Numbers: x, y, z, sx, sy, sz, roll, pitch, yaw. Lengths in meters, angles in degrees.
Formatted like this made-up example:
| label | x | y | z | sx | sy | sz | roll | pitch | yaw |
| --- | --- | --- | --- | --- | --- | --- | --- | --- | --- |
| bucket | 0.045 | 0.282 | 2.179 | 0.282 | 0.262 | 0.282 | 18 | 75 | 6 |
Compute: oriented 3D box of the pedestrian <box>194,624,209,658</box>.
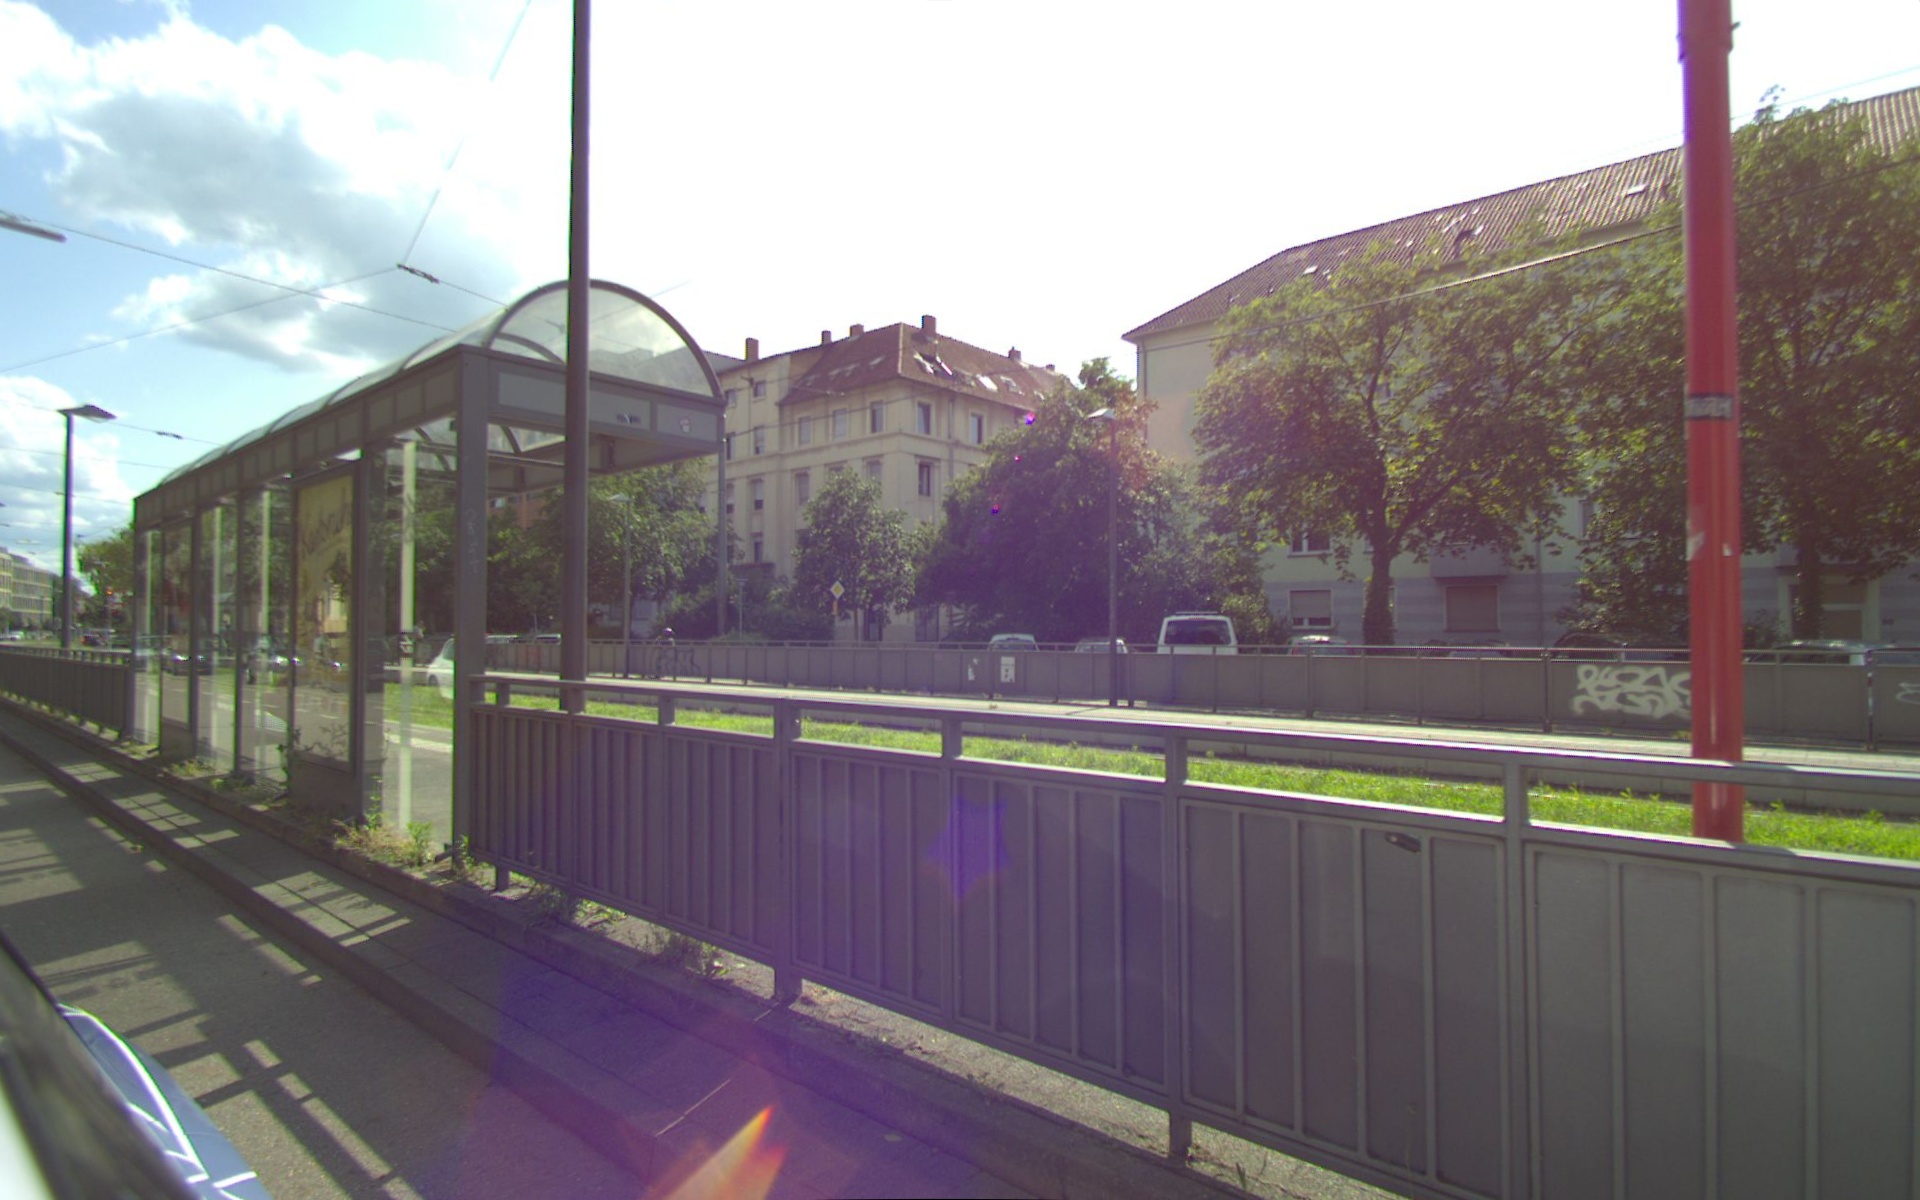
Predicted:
| label | x | y | z | sx | sy | sz | roll | pitch | yaw |
| --- | --- | --- | --- | --- | --- | --- | --- | --- | --- |
| pedestrian | -38.534 | 2.083 | 51.383 | 0.623 | 1.739 | 0.481 | -2 | -2 | 41 |

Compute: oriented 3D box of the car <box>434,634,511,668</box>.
| label | x | y | z | sx | sy | sz | roll | pitch | yaw |
| --- | --- | --- | --- | --- | --- | --- | --- | --- | --- |
| car | -25.047 | 2.578 | 52.139 | 1.810 | 1.652 | 4.133 | 1 | -2 | 2 |

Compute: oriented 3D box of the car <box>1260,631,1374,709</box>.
| label | x | y | z | sx | sy | sz | roll | pitch | yaw |
| --- | --- | --- | --- | --- | --- | --- | --- | --- | --- |
| car | 7.870 | 1.506 | 22.655 | 1.700 | 1.591 | 3.939 | -1 | -2 | 10 |

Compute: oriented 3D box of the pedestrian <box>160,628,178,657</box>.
| label | x | y | z | sx | sy | sz | roll | pitch | yaw |
| --- | --- | --- | --- | --- | --- | --- | --- | --- | --- |
| pedestrian | -46.648 | 2.495 | 59.674 | 0.798 | 1.712 | 0.659 | -1 | -3 | 39 |

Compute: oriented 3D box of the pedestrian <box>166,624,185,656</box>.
| label | x | y | z | sx | sy | sz | roll | pitch | yaw |
| --- | --- | --- | --- | --- | --- | --- | --- | --- | --- |
| pedestrian | -43.736 | 2.222 | 56.391 | 0.798 | 1.737 | 0.632 | -1 | -3 | 39 |

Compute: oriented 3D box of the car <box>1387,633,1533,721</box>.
| label | x | y | z | sx | sy | sz | roll | pitch | yaw |
| --- | --- | --- | --- | --- | --- | --- | --- | --- | --- |
| car | 9.812 | 1.460 | 20.148 | 1.631 | 1.591 | 3.654 | -1 | -2 | 11 |

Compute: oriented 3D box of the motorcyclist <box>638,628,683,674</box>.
| label | x | y | z | sx | sy | sz | roll | pitch | yaw |
| --- | --- | --- | --- | --- | --- | --- | --- | --- | --- |
| motorcyclist | -9.125 | 1.543 | 30.792 | 0.986 | 1.349 | 0.928 | -2 | -3 | 42 |

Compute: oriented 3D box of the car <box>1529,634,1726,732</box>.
| label | x | y | z | sx | sy | sz | roll | pitch | yaw |
| --- | --- | --- | --- | --- | --- | --- | --- | --- | --- |
| car | 11.910 | 1.420 | 18.342 | 1.631 | 1.591 | 3.654 | -1 | -2 | 11 |

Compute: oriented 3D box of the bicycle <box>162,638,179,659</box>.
| label | x | y | z | sx | sy | sz | roll | pitch | yaw |
| --- | --- | --- | --- | --- | --- | --- | --- | --- | --- |
| bicycle | -43.578 | 2.654 | 55.839 | 0.653 | 1.122 | 1.880 | 4 | -4 | -40 |

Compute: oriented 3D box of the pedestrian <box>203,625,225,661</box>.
| label | x | y | z | sx | sy | sz | roll | pitch | yaw |
| --- | --- | --- | --- | --- | --- | --- | --- | --- | --- |
| pedestrian | -34.658 | 2.000 | 47.006 | 0.556 | 1.645 | 0.593 | -2 | -3 | 28 |

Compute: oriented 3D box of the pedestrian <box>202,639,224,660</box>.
| label | x | y | z | sx | sy | sz | roll | pitch | yaw |
| --- | --- | --- | --- | --- | --- | --- | --- | --- | --- |
| pedestrian | -37.221 | 2.463 | 50.445 | 0.623 | 1.039 | 0.712 | -1 | -4 | 39 |

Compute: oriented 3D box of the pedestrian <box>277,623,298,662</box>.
| label | x | y | z | sx | sy | sz | roll | pitch | yaw |
| --- | --- | --- | --- | --- | --- | --- | --- | --- | --- |
| pedestrian | -29.175 | 1.844 | 43.908 | 0.625 | 1.687 | 0.600 | -1 | -2 | 42 |

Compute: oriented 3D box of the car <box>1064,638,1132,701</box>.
| label | x | y | z | sx | sy | sz | roll | pitch | yaw |
| --- | --- | --- | --- | --- | --- | --- | --- | --- | --- |
| car | 3.584 | 1.743 | 26.221 | 1.591 | 1.497 | 3.989 | -1 | -2 | 8 |

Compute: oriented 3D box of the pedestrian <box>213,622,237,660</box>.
| label | x | y | z | sx | sy | sz | roll | pitch | yaw |
| --- | --- | --- | --- | --- | --- | --- | --- | --- | --- |
| pedestrian | -34.817 | 1.941 | 47.938 | 1.035 | 1.756 | 0.626 | -1 | -3 | 39 |

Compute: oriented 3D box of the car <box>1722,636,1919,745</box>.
| label | x | y | z | sx | sy | sz | roll | pitch | yaw |
| --- | --- | --- | --- | --- | --- | --- | --- | --- | --- |
| car | 14.078 | 1.334 | 16.027 | 1.593 | 1.525 | 4.013 | 0 | -2 | 12 |

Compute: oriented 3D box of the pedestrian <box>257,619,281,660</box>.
| label | x | y | z | sx | sy | sz | roll | pitch | yaw |
| --- | --- | --- | --- | --- | --- | --- | --- | --- | --- |
| pedestrian | -29.544 | 1.682 | 43.276 | 0.599 | 1.767 | 0.626 | 1 | -2 | -8 |

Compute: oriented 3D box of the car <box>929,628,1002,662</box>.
| label | x | y | z | sx | sy | sz | roll | pitch | yaw |
| --- | --- | --- | --- | --- | --- | --- | --- | --- | --- |
| car | 0.324 | 2.463 | 55.321 | 1.823 | 1.746 | 3.944 | -1 | -3 | 42 |

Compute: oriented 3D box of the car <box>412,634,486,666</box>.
| label | x | y | z | sx | sy | sz | roll | pitch | yaw |
| --- | --- | --- | --- | --- | --- | --- | --- | --- | --- |
| car | -27.223 | 2.644 | 54.045 | 1.591 | 1.580 | 3.990 | -1 | -2 | 8 |

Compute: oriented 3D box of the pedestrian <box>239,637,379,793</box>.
| label | x | y | z | sx | sy | sz | roll | pitch | yaw |
| --- | --- | --- | --- | --- | --- | --- | --- | --- | --- |
| pedestrian | -4.774 | 0.819 | 7.466 | 0.652 | 1.080 | 0.726 | 0 | -3 | -14 |

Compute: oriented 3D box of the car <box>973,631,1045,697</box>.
| label | x | y | z | sx | sy | sz | roll | pitch | yaw |
| --- | --- | --- | --- | --- | --- | --- | --- | --- | --- |
| car | 1.398 | 1.713 | 27.818 | 1.804 | 1.652 | 3.994 | -2 | -2 | 4 |

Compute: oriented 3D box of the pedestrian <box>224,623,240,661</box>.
| label | x | y | z | sx | sy | sz | roll | pitch | yaw |
| --- | --- | --- | --- | --- | --- | --- | --- | --- | --- |
| pedestrian | -35.129 | 2.025 | 48.855 | 0.623 | 1.841 | 0.438 | -1 | -3 | 39 |

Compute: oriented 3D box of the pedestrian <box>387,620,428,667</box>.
| label | x | y | z | sx | sy | sz | roll | pitch | yaw |
| --- | --- | --- | --- | --- | --- | --- | --- | --- | --- |
| pedestrian | -19.070 | 1.487 | 34.920 | 0.798 | 1.590 | 0.978 | -1 | -3 | 39 |

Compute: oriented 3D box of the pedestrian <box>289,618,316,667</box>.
| label | x | y | z | sx | sy | sz | roll | pitch | yaw |
| --- | --- | --- | --- | --- | --- | --- | --- | --- | --- |
| pedestrian | -26.142 | 1.685 | 40.243 | 0.639 | 1.906 | 0.742 | 1 | -1 | 44 |

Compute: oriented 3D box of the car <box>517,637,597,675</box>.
| label | x | y | z | sx | sy | sz | roll | pitch | yaw |
| --- | --- | --- | --- | --- | --- | --- | --- | --- | --- |
| car | -18.026 | 2.479 | 45.479 | 1.900 | 1.577 | 4.151 | 1 | -2 | 1 |

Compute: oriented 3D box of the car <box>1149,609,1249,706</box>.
| label | x | y | z | sx | sy | sz | roll | pitch | yaw |
| --- | --- | --- | --- | --- | --- | --- | --- | --- | --- |
| car | 5.538 | 1.318 | 23.893 | 2.028 | 2.086 | 3.938 | -1 | -2 | 10 |
